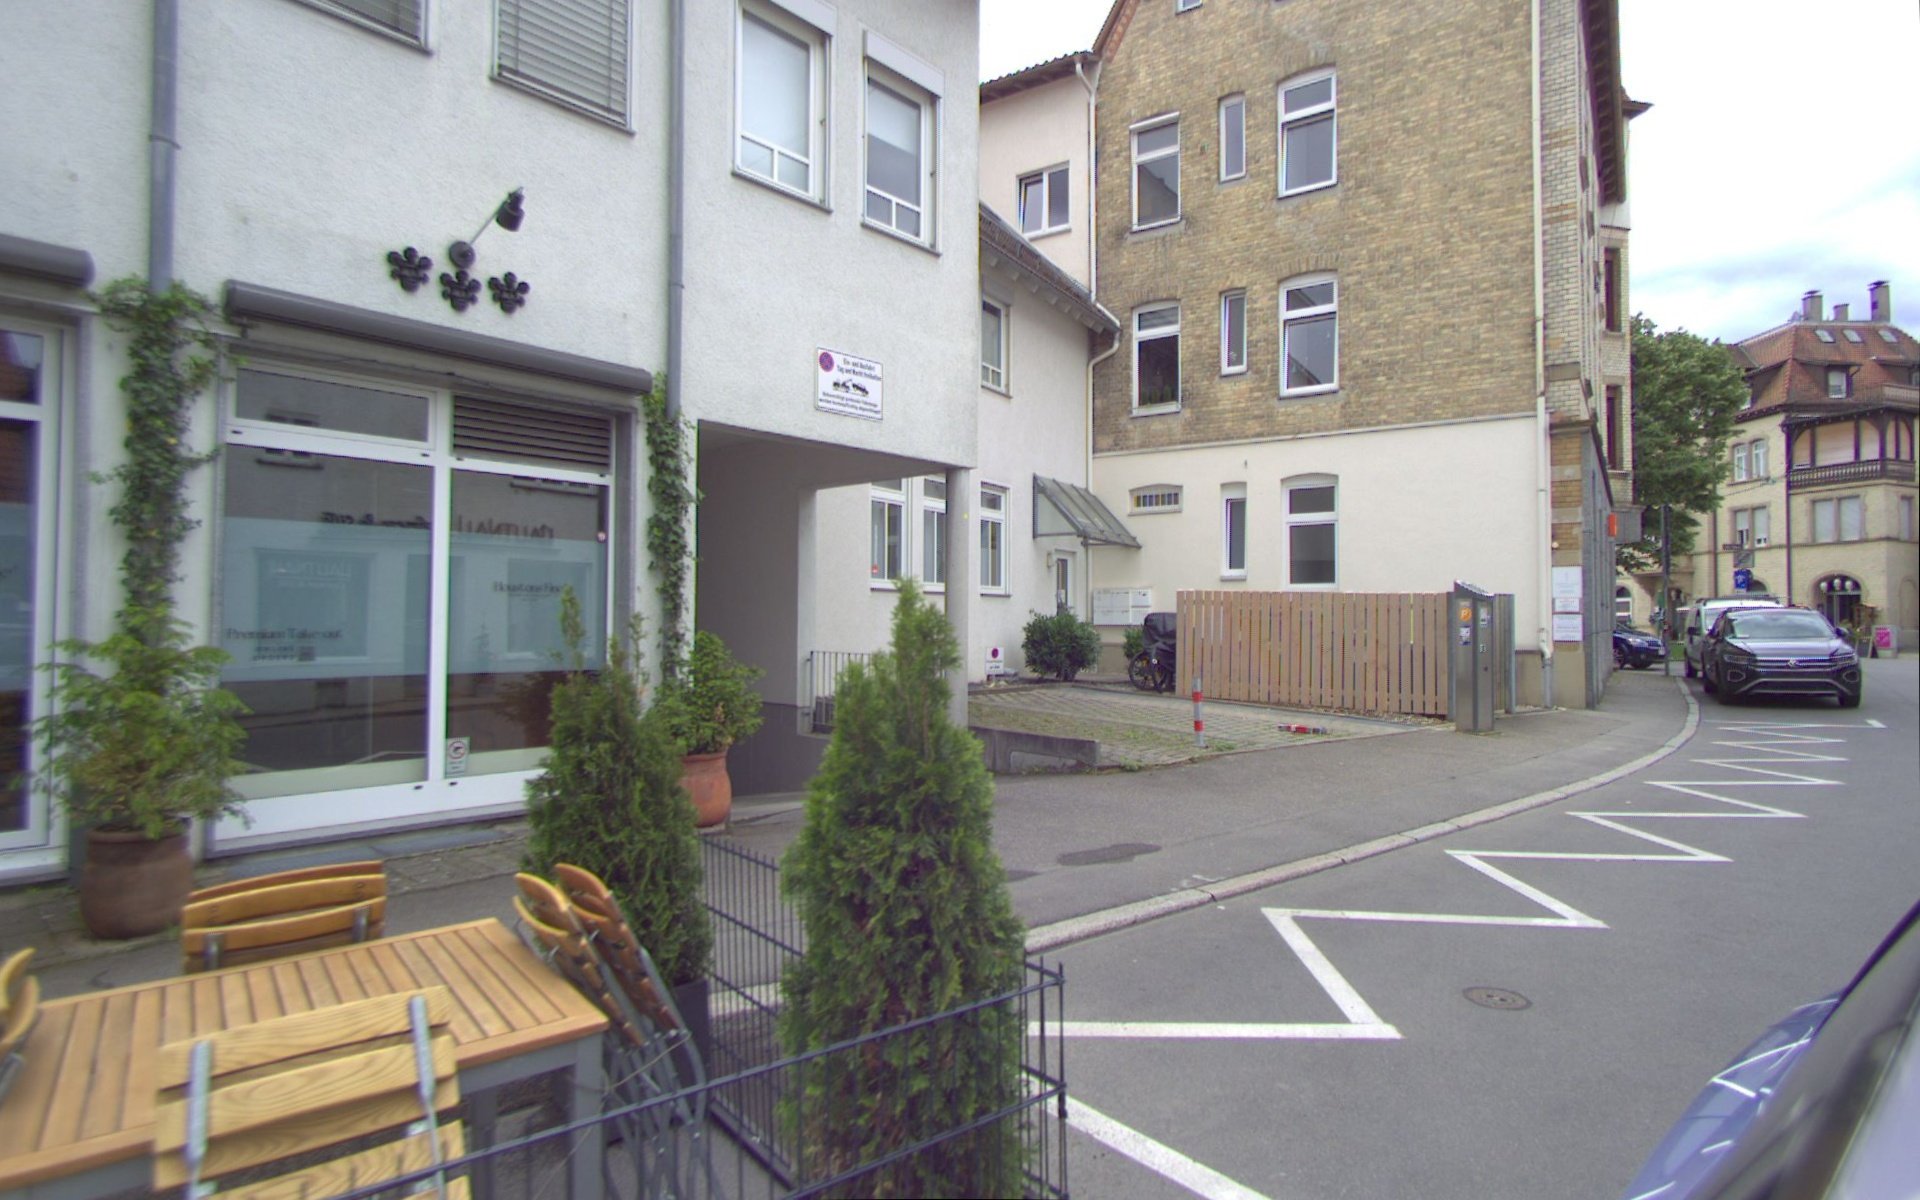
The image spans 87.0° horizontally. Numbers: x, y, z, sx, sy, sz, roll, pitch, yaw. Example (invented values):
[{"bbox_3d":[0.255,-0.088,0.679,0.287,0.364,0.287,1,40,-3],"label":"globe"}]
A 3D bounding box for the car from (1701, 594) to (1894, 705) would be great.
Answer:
[{"bbox_3d":[14.005,0.749,17.201,1.779,1.621,4.492,-2,-1,31],"label":"car"}]

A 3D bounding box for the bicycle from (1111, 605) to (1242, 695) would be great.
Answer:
[{"bbox_3d":[3.301,0.744,15.324,0.959,1.234,2.066,2,0,44],"label":"bicycle"}]

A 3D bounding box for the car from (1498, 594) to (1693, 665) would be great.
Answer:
[{"bbox_3d":[16.949,0.778,27.201,1.825,1.726,4.025,-1,-1,-30],"label":"car"}]

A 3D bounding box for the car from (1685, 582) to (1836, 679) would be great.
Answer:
[{"bbox_3d":[16.658,0.625,21.279,1.815,1.815,4.173,-1,-2,30],"label":"car"}]
